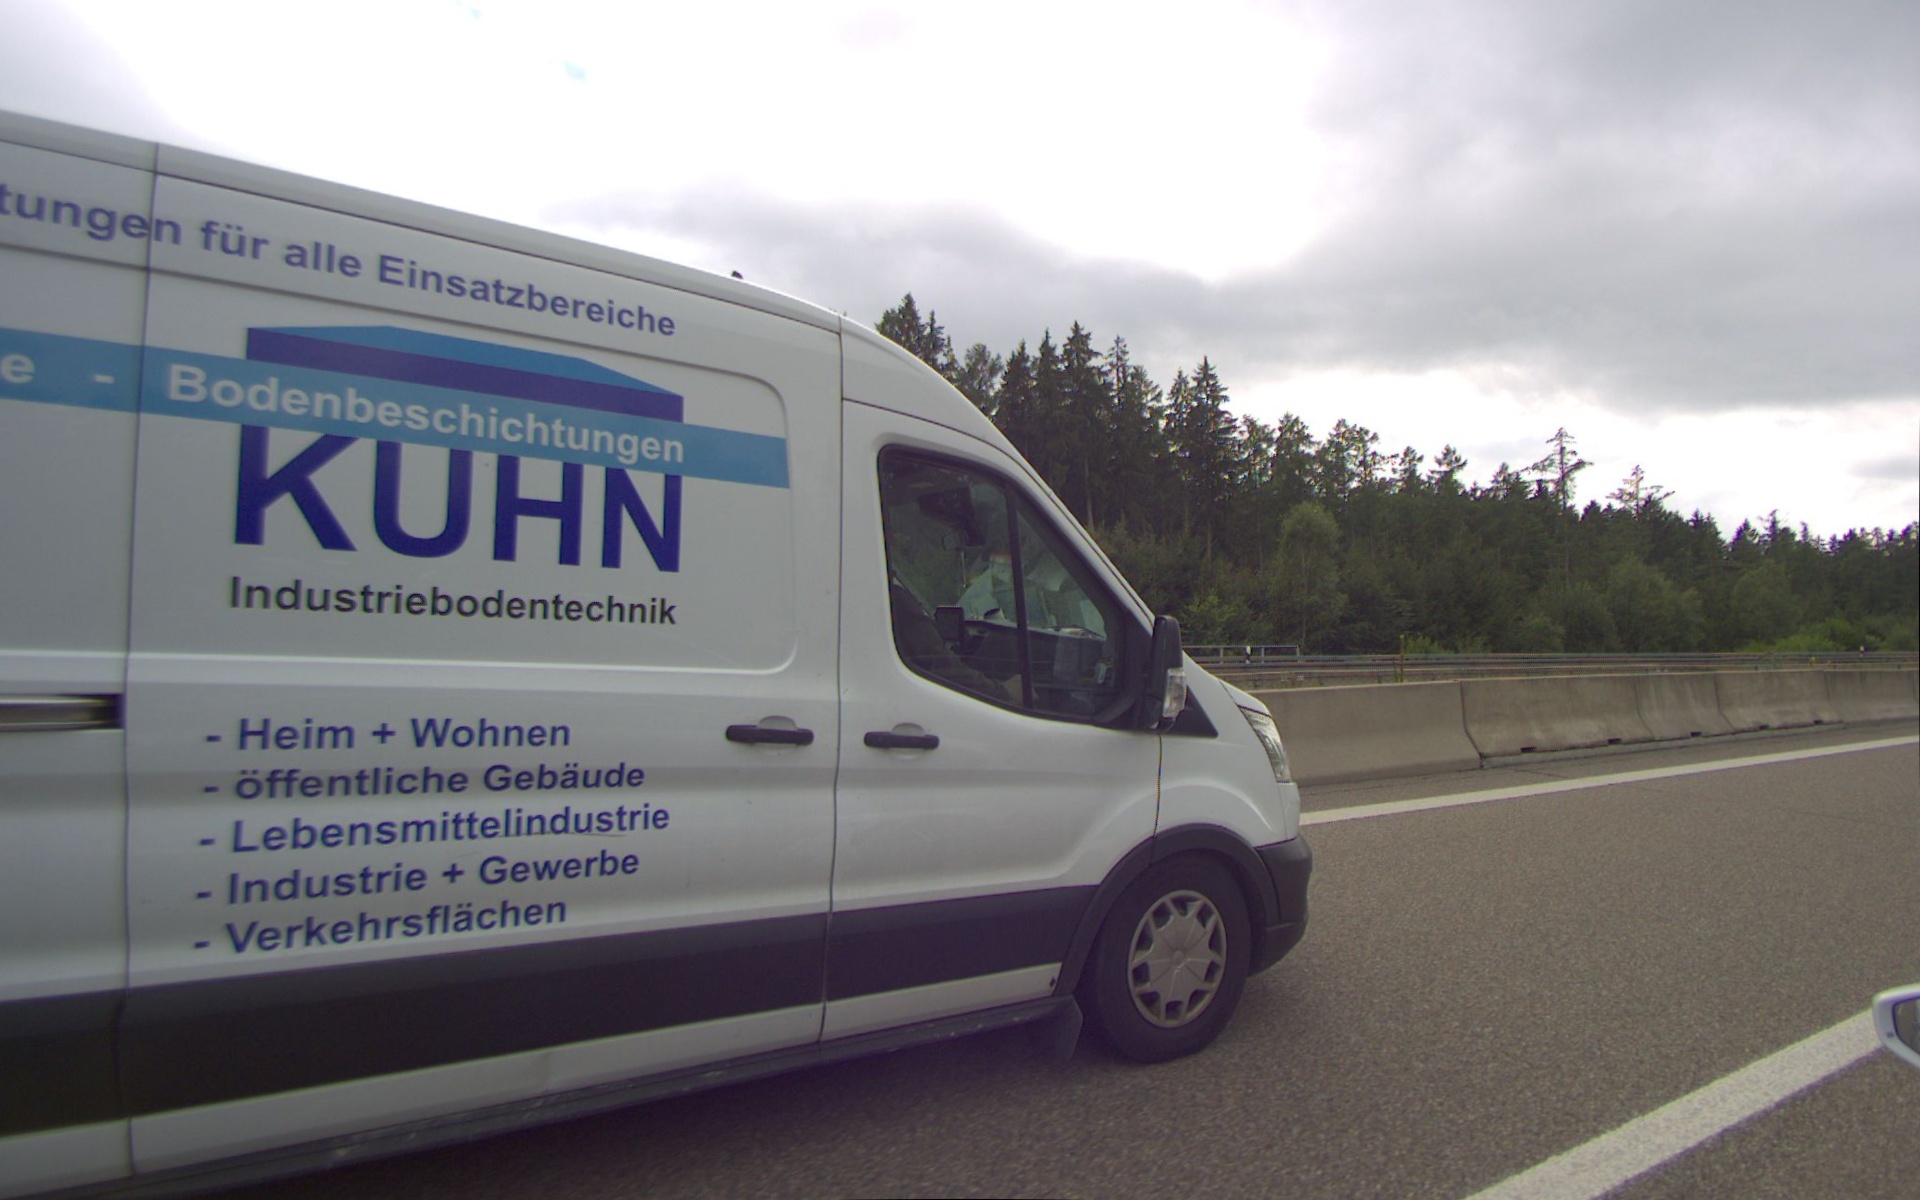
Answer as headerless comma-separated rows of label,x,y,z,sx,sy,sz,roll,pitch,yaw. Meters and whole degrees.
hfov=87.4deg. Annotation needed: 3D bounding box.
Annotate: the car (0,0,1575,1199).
car,-0.949,0.233,3.351,7.049,2.540,2.127,1,-1,-31
